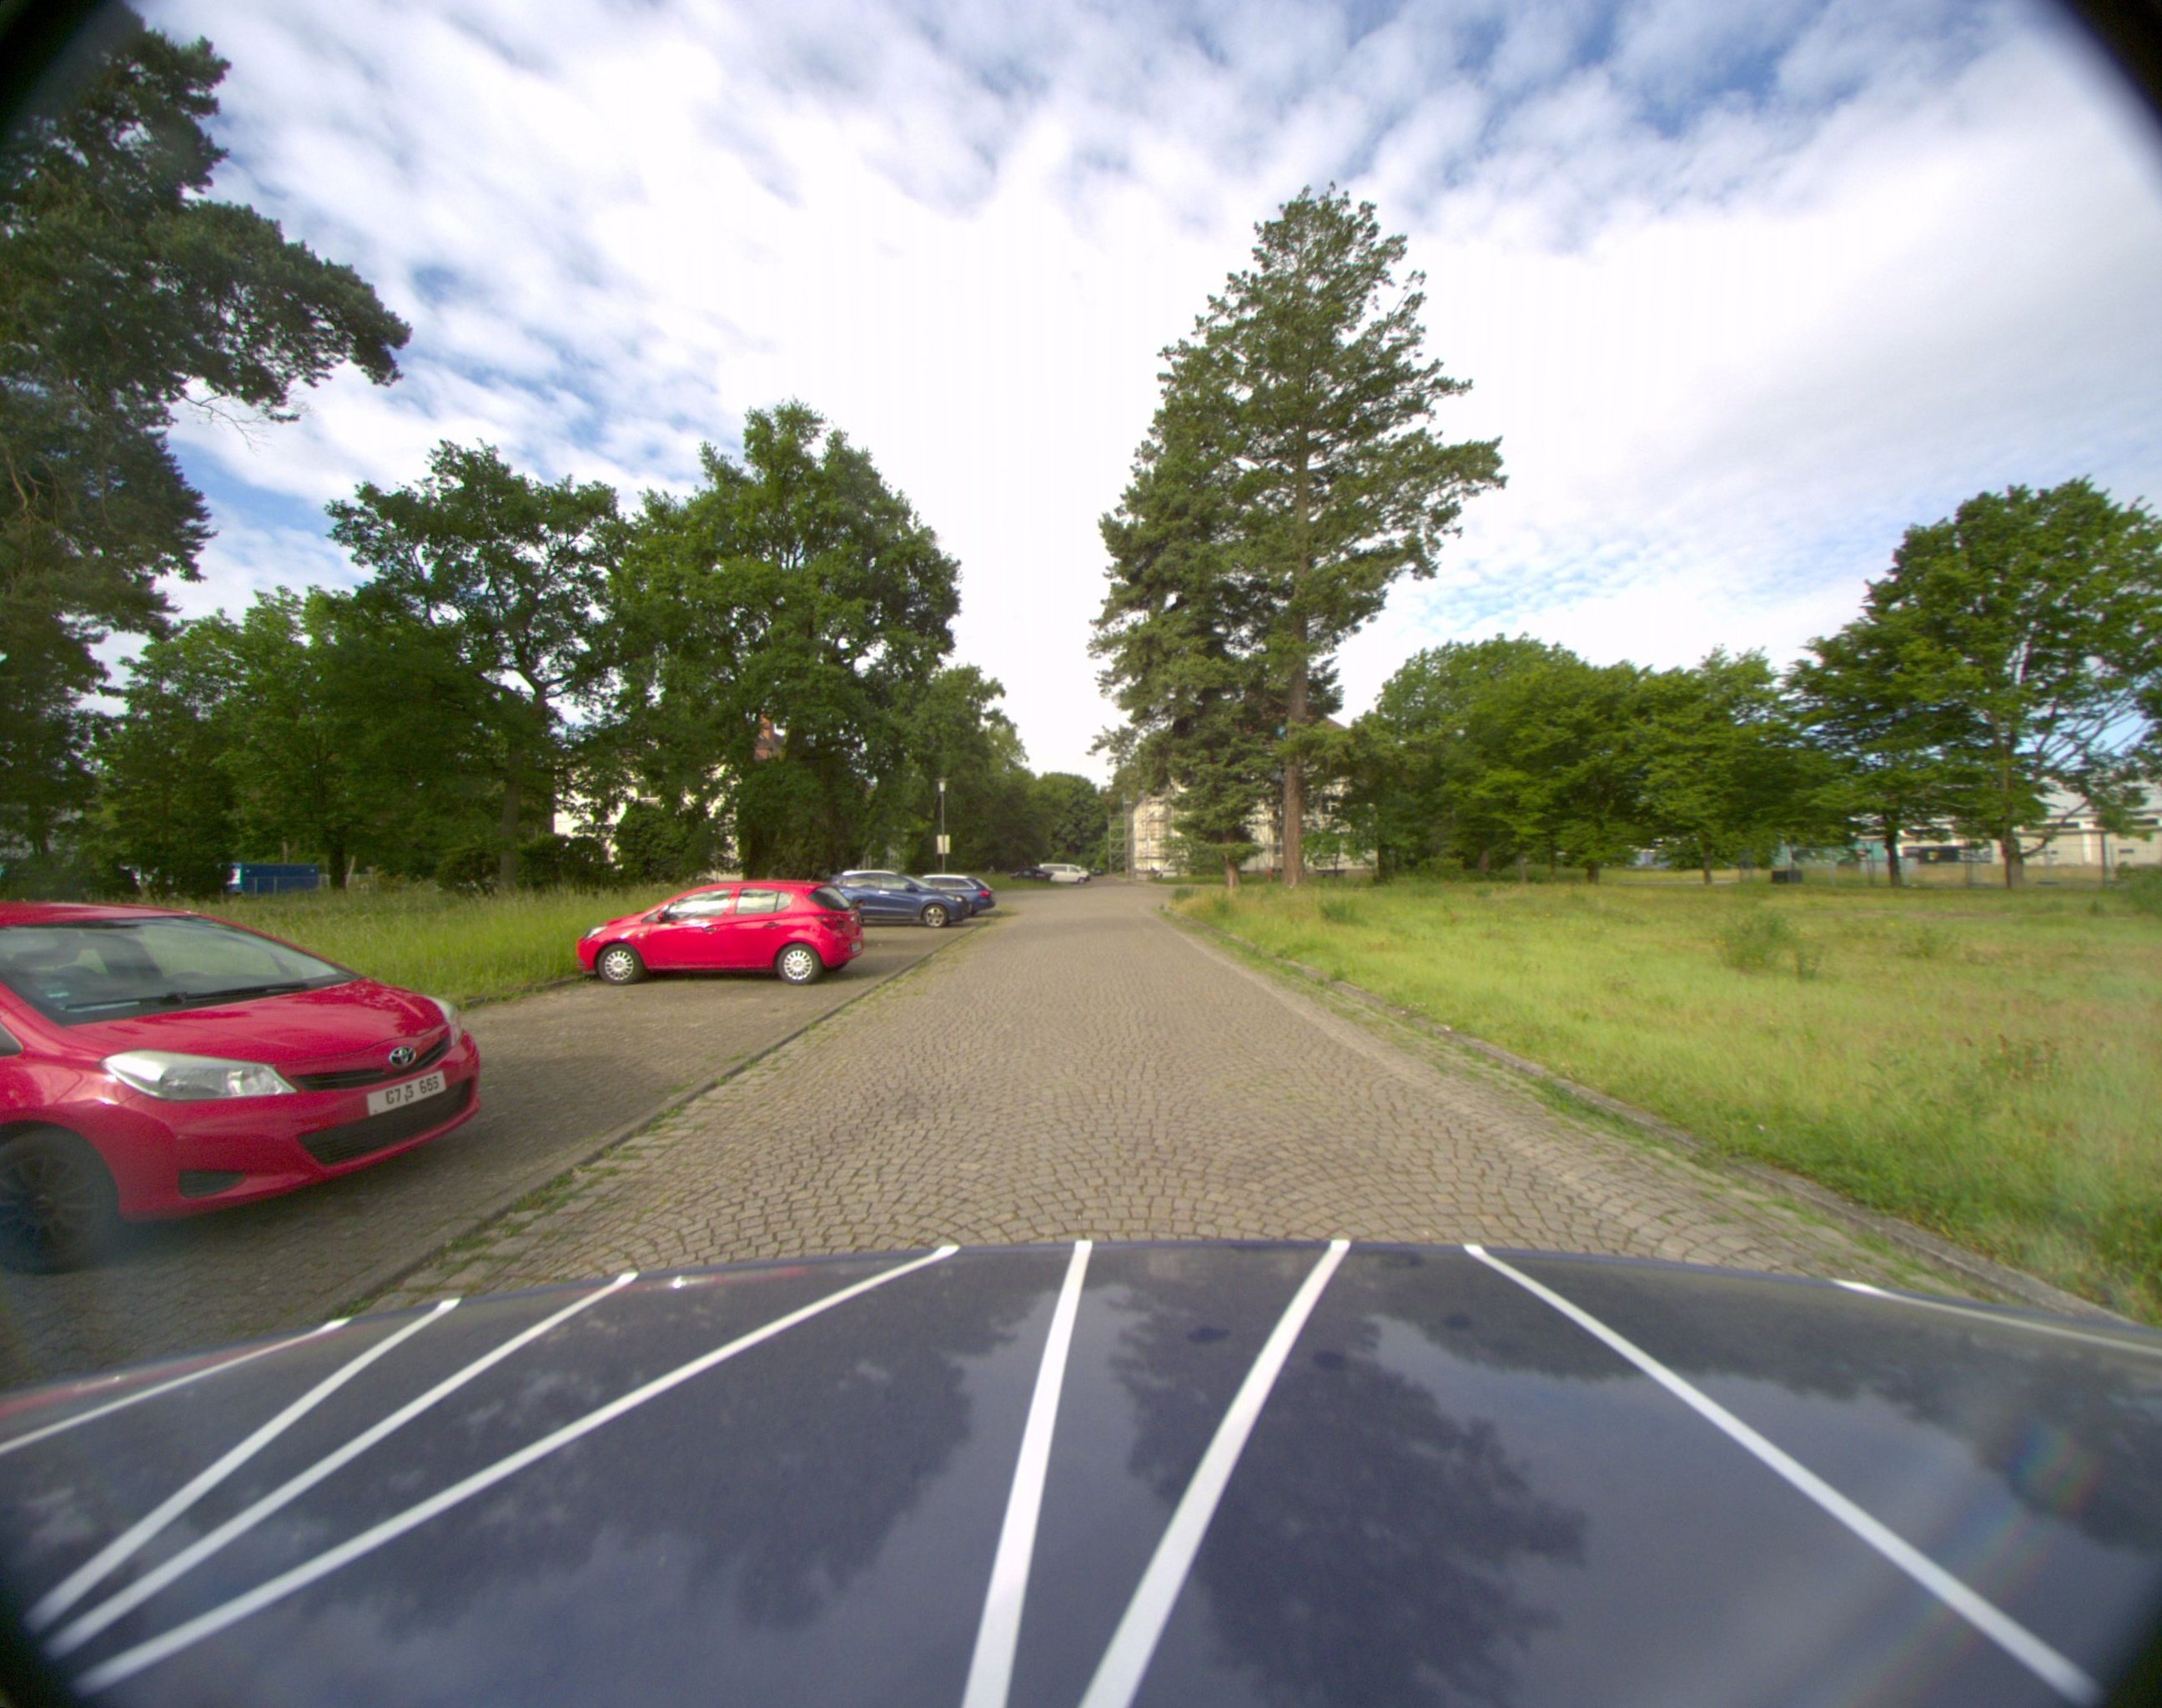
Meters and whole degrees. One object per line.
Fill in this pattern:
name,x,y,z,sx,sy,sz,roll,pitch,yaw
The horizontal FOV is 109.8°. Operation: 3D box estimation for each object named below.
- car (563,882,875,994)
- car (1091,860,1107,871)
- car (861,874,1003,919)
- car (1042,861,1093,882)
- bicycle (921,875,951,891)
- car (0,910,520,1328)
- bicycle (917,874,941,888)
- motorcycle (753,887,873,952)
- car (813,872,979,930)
car,-5.262,1.195,11.431,3.849,1.496,1.738,0,-1,-1
car,3.317,2.137,141.799,2.029,1.915,3.997,-1,-1,-11
car,-5.117,1.440,26.518,4.515,1.456,1.896,0,-1,3
car,-1.386,1.715,75.250,4.916,1.982,2.000,-1,-1,-3
bicycle,-10.467,2.092,54.894,2.020,1.082,0.478,0,2,-22
car,-5.478,1.122,3.813,3.997,1.509,1.738,-1,-1,0
bicycle,-12.120,2.158,60.476,1.810,1.082,0.552,0,2,-22
motorcycle,-5.533,1.347,15.774,2.271,1.267,0.605,0,0,-5
car,-5.192,1.318,21.737,4.274,1.564,1.895,0,-1,-1
